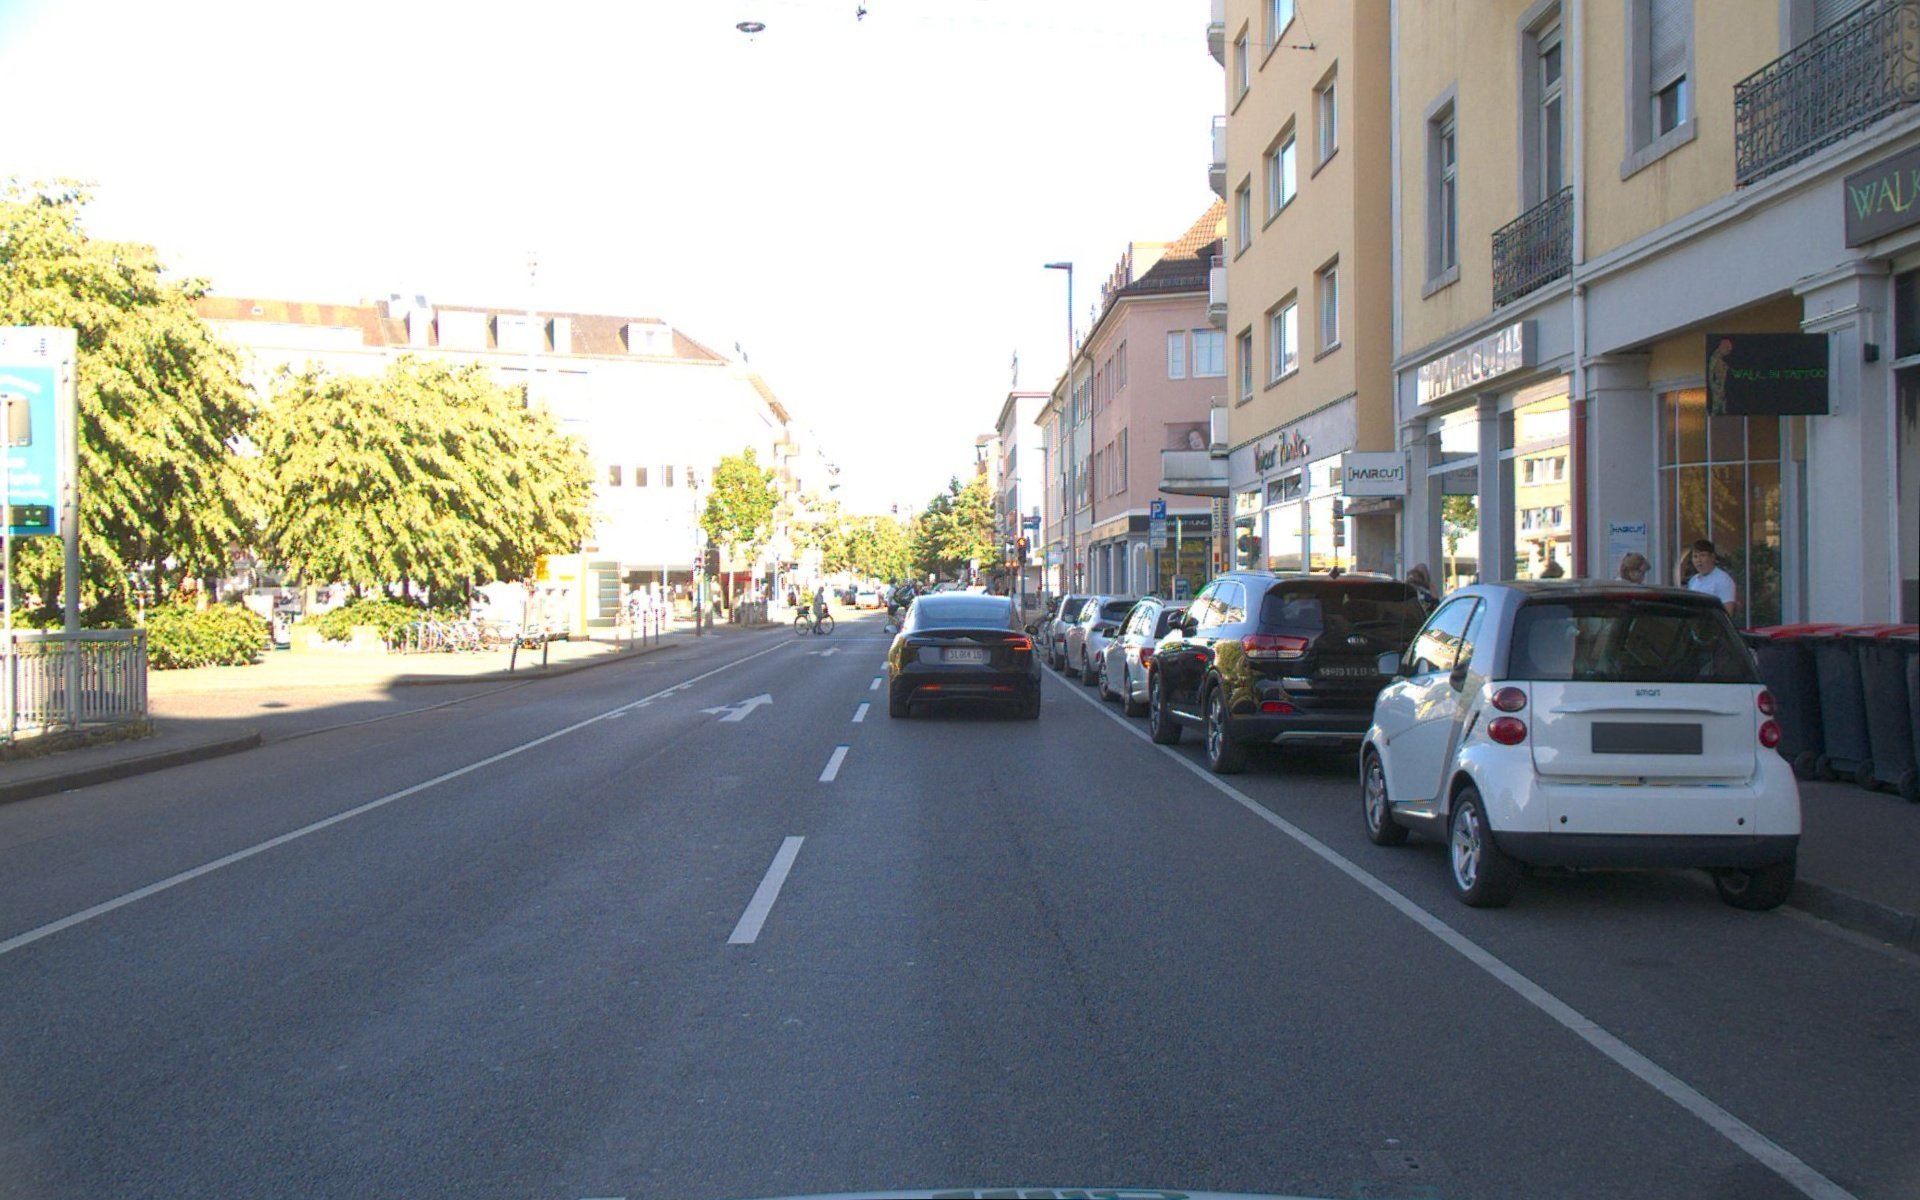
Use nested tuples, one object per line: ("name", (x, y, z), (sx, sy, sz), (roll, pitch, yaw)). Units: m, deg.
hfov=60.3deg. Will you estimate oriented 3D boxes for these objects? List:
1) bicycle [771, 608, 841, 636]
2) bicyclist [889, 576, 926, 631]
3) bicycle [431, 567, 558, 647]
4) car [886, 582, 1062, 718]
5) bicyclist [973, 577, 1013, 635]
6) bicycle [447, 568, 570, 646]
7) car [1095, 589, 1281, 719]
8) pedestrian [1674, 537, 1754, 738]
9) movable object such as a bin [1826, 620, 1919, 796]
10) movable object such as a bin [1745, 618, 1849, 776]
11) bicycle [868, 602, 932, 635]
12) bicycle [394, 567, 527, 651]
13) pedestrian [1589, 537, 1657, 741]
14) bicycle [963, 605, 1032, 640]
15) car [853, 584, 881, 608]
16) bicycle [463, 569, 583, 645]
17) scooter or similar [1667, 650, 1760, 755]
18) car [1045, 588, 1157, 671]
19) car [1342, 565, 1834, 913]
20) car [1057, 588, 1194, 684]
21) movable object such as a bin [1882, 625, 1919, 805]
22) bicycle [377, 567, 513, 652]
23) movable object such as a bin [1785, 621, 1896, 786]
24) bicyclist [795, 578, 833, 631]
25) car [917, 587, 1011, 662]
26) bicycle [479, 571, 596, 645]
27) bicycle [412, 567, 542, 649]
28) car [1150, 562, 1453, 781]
("bicycle", (-5.054, 0.708, 54.468), (2.197, 0.898, 0.924), (0, 0, 2))
("bicyclist", (-1.644, 0.094, 51.904), (1.123, 1.715, 0.818), (0, 0, -5))
("bicycle", (-12.134, 0.168, 43.142), (3.055, 2.049, 0.909), (0, 0, 8))
("car", (0.074, 0.591, 20.874), (1.955, 1.506, 4.493), (1, -1, -2))
("bicyclist", (0.978, 0.173, 49.104), (1.123, 1.715, 0.918), (0, 0, -5))
("bicycle", (-12.055, 0.185, 44.227), (3.055, 2.049, 0.909), (0, 0, 8))
("car", (2.839, 0.654, 21.393), (1.756, 1.485, 4.083), (1, -1, -1))
("pedestrian", (6.356, 0.306, 13.952), (0.460, 1.664, 0.513), (0, 0, 3))
("movable object such as a bin", (5.989, 0.677, 10.632), (0.469, 1.070, 0.631), (-2, 0, -2))
("movable object such as a bin", (5.943, 0.678, 11.763), (0.446, 1.070, 0.499), (-2, 0, -2))
("bicycle", (-1.893, 0.575, 51.881), (1.972, 1.040, 0.761), (0, 0, -5))
("bicycle", (-12.398, 0.202, 41.099), (3.055, 2.049, 0.909), (0, 0, 8))
("pedestrian", (5.521, 0.318, 13.794), (0.460, 1.664, 0.514), (0, 0, 15))
("bicycle", (1.114, 0.663, 49.102), (1.972, 1.040, 0.887), (0, 0, -5))
("car", (-7.275, -0.317, 129.691), (1.953, 1.802, 4.000), (1, 1, 0))
("bicycle", (-11.963, 0.174, 45.267), (3.055, 2.049, 0.909), (0, 0, 8))
("scooter or similar", (5.999, 0.812, 13.183), (0.566, 0.793, 0.467), (-3, 0, 15))
("car", (2.665, 0.558, 32.038), (1.756, 1.485, 3.867), (1, -1, -1))
("car", (3.217, 0.621, 9.032), (1.580, 1.573, 2.855), (1, 1, 0))
("car", (2.704, 0.587, 27.811), (1.756, 1.485, 3.866), (1, -1, -2))
("movable object such as a bin", (6.009, 0.693, 9.993), (0.485, 1.070, 0.631), (-2, 0, -2))
("bicycle", (-12.494, 0.219, 40.140), (3.055, 2.049, 0.909), (0, 0, 8))
("movable object such as a bin", (5.966, 0.688, 11.219), (0.469, 1.070, 0.467), (-2, 0, -2))
("bicyclist", (-4.806, 0.144, 54.474), (1.122, 1.715, 0.915), (0, 0, 2))
("car", (0.105, 0.485, 35.758), (1.895, 1.513, 4.271), (0, 0, 1))
("bicycle", (-11.828, 0.215, 46.313), (3.055, 2.049, 0.909), (0, 0, 8))
("bicycle", (-12.279, 0.186, 42.093), (3.055, 2.049, 0.909), (0, 0, 8))
("car", (2.888, 0.580, 14.852), (1.682, 1.664, 4.082), (1, -1, -3))
